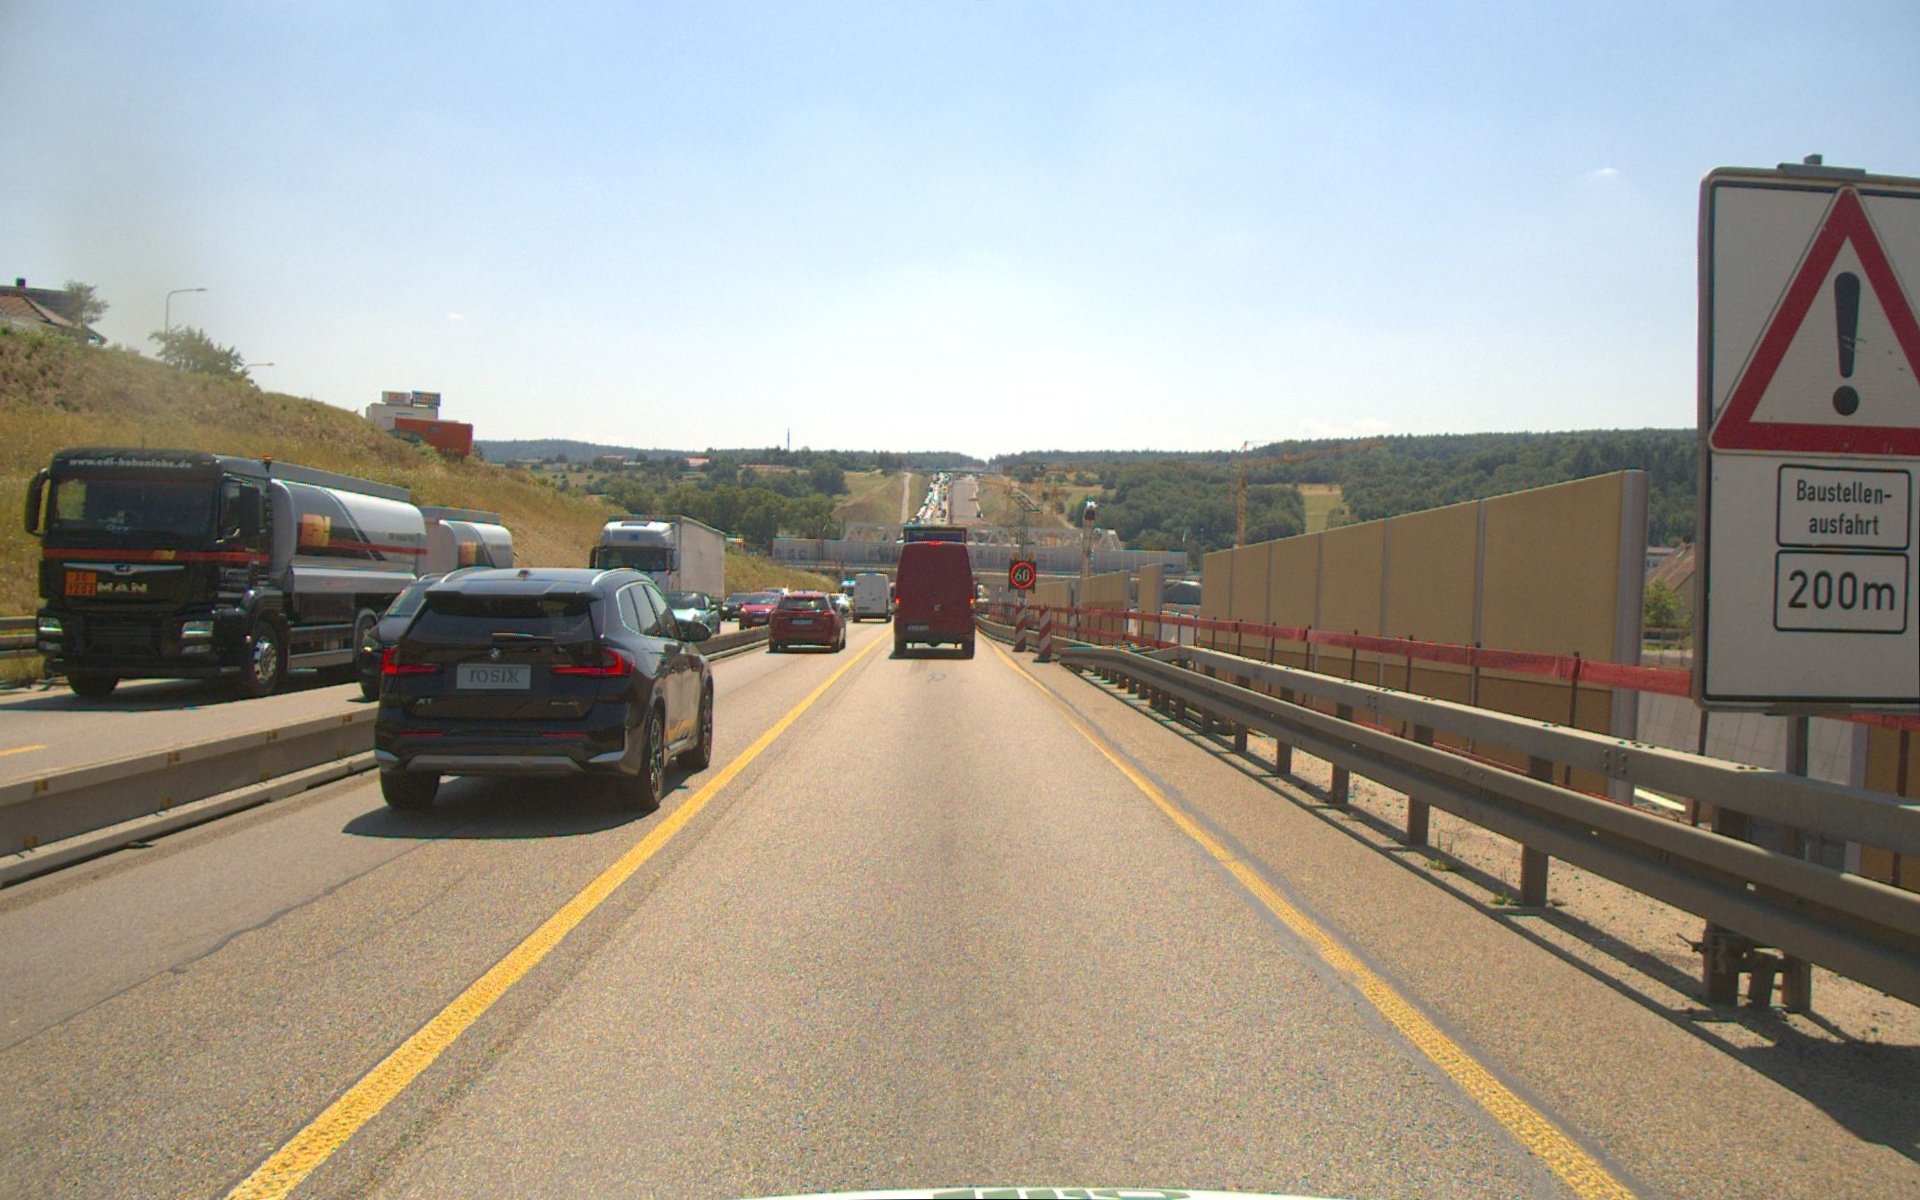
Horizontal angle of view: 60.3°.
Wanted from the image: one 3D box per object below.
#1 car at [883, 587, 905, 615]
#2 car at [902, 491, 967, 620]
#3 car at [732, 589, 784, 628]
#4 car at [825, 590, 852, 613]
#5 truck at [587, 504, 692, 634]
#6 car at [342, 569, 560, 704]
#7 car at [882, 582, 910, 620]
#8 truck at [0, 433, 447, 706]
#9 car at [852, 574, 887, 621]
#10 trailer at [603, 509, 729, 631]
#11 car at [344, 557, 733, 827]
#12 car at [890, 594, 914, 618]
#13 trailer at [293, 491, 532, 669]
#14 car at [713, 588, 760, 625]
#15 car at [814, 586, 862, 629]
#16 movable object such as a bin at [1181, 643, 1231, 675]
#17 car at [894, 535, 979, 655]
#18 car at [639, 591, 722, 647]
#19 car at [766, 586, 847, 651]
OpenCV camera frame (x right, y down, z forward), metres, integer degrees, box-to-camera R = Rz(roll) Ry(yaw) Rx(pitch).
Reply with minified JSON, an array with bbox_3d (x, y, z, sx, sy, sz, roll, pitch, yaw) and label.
[{"bbox_3d":[-5.661,0.099,142.026,1.740,2.370,4.205,0,0,-1],"label":"car"},{"bbox_3d":[-1.116,-1.763,70.711,2.568,5.120,10.394,0,0,-1],"label":"car"},{"bbox_3d":[-7.905,0.307,65.061,1.636,1.492,3.999,1,0,-1],"label":"car"},{"bbox_3d":[-9.050,0.101,123.403,1.802,1.683,5.369,0,0,-2],"label":"car"},{"bbox_3d":[-11.038,-1.044,57.354,2.690,4.255,5.287,1,0,-1],"label":"truck"},{"bbox_3d":[-6.919,0.437,22.956,1.683,1.663,4.498,1,0,-1],"label":"car"},{"bbox_3d":[-4.035,0.040,104.600,1.740,2.370,4.205,0,0,-1],"label":"car"},{"bbox_3d":[-10.159,-0.391,24.142,2.671,3.197,8.957,1,0,-1],"label":"truck"},{"bbox_3d":[-4.817,-0.133,88.423,1.740,2.484,4.205,0,0,-1],"label":"car"},{"bbox_3d":[-11.234,-1.082,64.741,2.729,4.255,13.975,1,0,-1],"label":"trailer"},{"bbox_3d":[-2.888,0.560,12.375,1.841,1.646,4.498,0,0,-1],"label":"car"},{"bbox_3d":[-4.254,0.430,122.030,1.740,1.699,4.027,0,0,-1],"label":"car"},{"bbox_3d":[-10.335,-0.364,31.938,2.559,3.053,6.369,1,0,-1],"label":"trailer"},{"bbox_3d":[-12.180,0.316,90.338,1.997,1.960,5.119,0,0,-2],"label":"car"},{"bbox_3d":[-4.972,0.285,67.966,1.802,1.683,4.163,0,0,-2],"label":"car"},{"bbox_3d":[21.968,5.267,148.002,3.099,2.488,7.893,3,0,-1],"label":"movable object such as a bin"},{"bbox_3d":[-0.597,-0.117,40.369,1.948,2.737,4.622,0,0,-1],"label":"car"},{"bbox_3d":[-7.436,0.472,44.323,1.632,1.418,3.904,0,0,-2],"label":"car"},{"bbox_3d":[-3.834,0.445,41.827,1.740,1.544,4.205,0,0,-1],"label":"car"}]
